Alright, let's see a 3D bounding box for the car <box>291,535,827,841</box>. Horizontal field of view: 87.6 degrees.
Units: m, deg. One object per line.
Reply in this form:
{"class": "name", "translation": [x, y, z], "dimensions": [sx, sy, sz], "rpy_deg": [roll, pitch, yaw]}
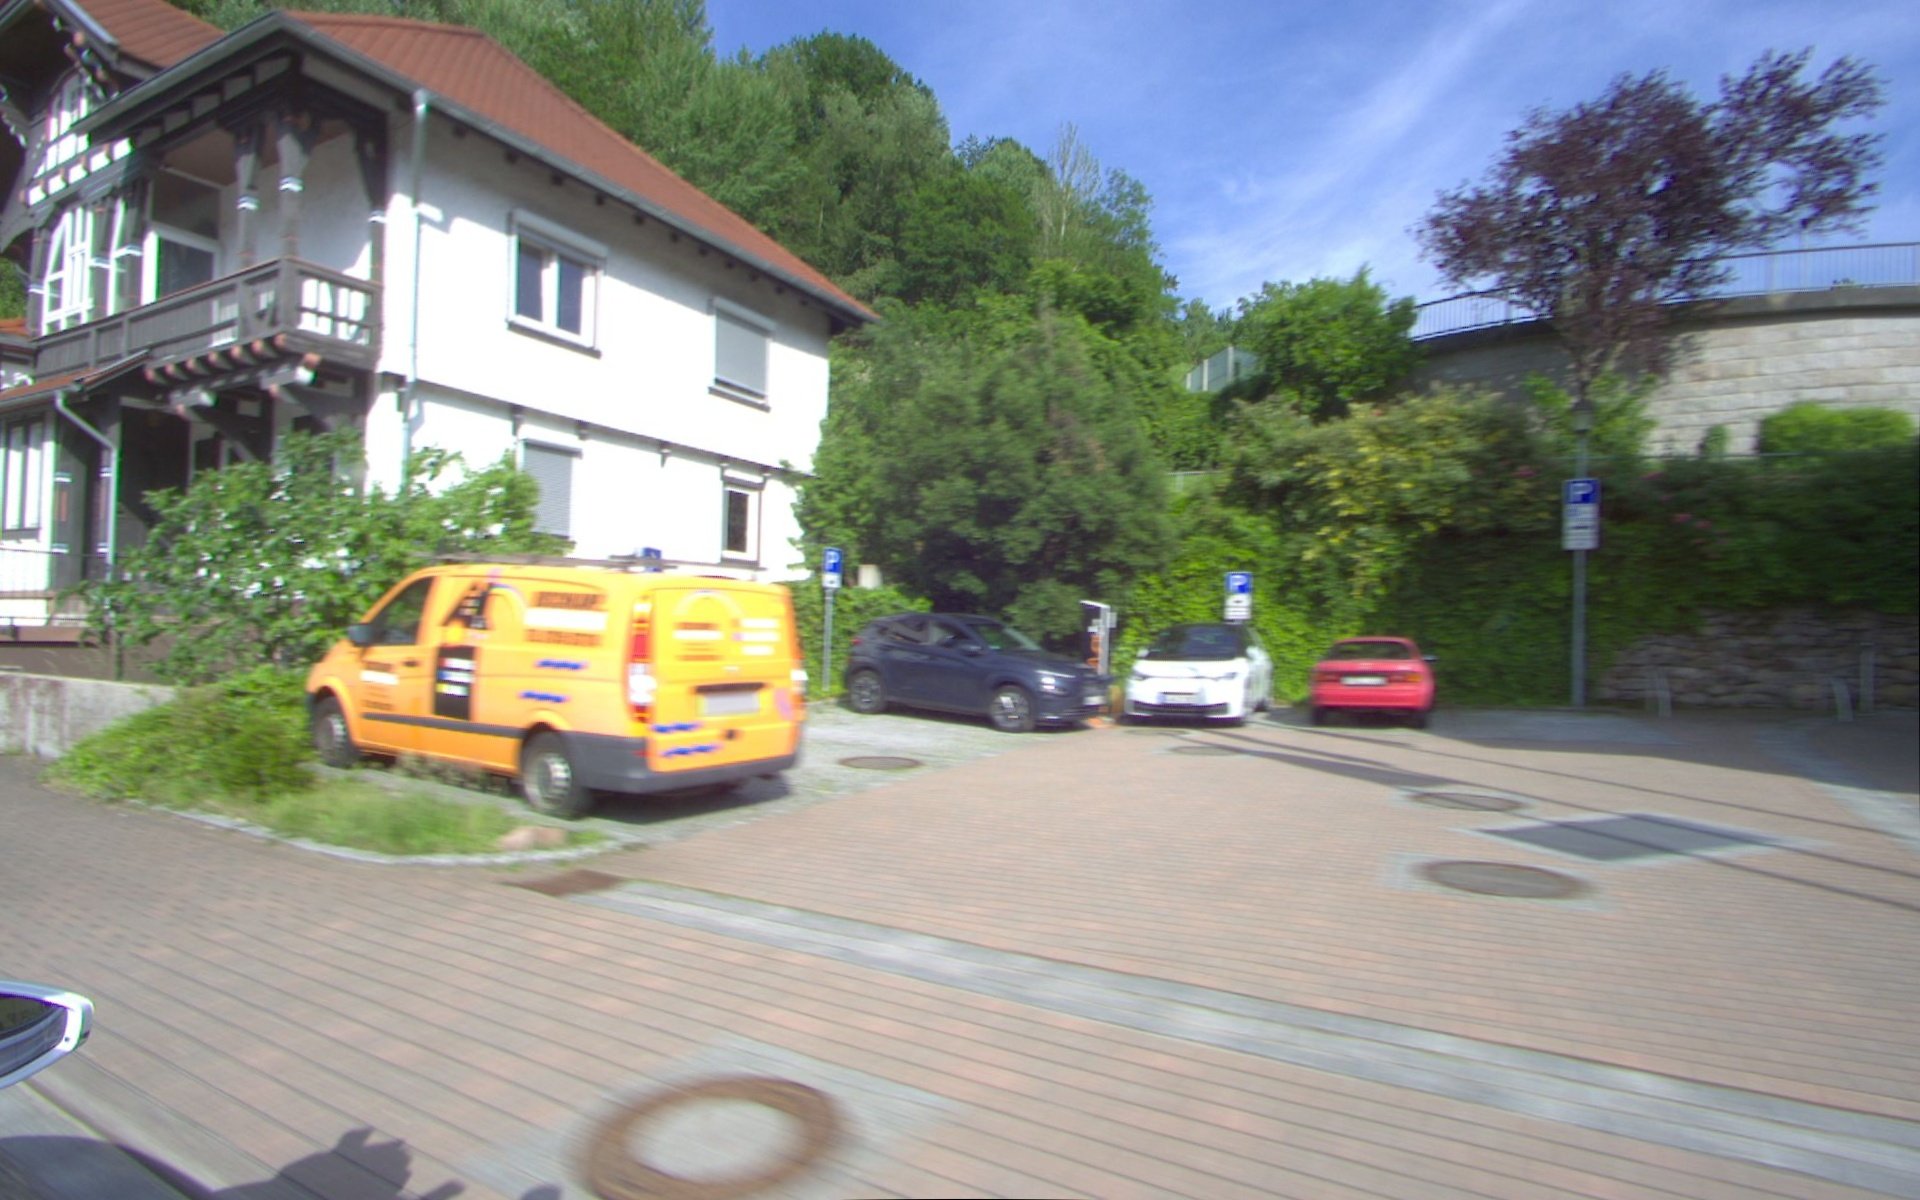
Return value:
{"class": "car", "translation": [-3.612, 0.625, 8.712], "dimensions": [4.766, 2.023, 1.905], "rpy_deg": [0, -1, 33]}

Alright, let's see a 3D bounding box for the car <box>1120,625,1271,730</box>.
{"class": "car", "translation": [3.903, 1.139, 16.126], "dimensions": [1.790, 1.470, 3.886], "rpy_deg": [-1, -1, 22]}

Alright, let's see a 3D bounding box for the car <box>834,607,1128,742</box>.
{"class": "car", "translation": [0.254, 0.994, 15.026], "dimensions": [4.098, 1.600, 1.747], "rpy_deg": [3, 1, 34]}

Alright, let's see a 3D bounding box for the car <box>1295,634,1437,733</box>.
{"class": "car", "translation": [6.480, 1.214, 15.756], "dimensions": [1.730, 1.306, 3.881], "rpy_deg": [-1, -1, 27]}
